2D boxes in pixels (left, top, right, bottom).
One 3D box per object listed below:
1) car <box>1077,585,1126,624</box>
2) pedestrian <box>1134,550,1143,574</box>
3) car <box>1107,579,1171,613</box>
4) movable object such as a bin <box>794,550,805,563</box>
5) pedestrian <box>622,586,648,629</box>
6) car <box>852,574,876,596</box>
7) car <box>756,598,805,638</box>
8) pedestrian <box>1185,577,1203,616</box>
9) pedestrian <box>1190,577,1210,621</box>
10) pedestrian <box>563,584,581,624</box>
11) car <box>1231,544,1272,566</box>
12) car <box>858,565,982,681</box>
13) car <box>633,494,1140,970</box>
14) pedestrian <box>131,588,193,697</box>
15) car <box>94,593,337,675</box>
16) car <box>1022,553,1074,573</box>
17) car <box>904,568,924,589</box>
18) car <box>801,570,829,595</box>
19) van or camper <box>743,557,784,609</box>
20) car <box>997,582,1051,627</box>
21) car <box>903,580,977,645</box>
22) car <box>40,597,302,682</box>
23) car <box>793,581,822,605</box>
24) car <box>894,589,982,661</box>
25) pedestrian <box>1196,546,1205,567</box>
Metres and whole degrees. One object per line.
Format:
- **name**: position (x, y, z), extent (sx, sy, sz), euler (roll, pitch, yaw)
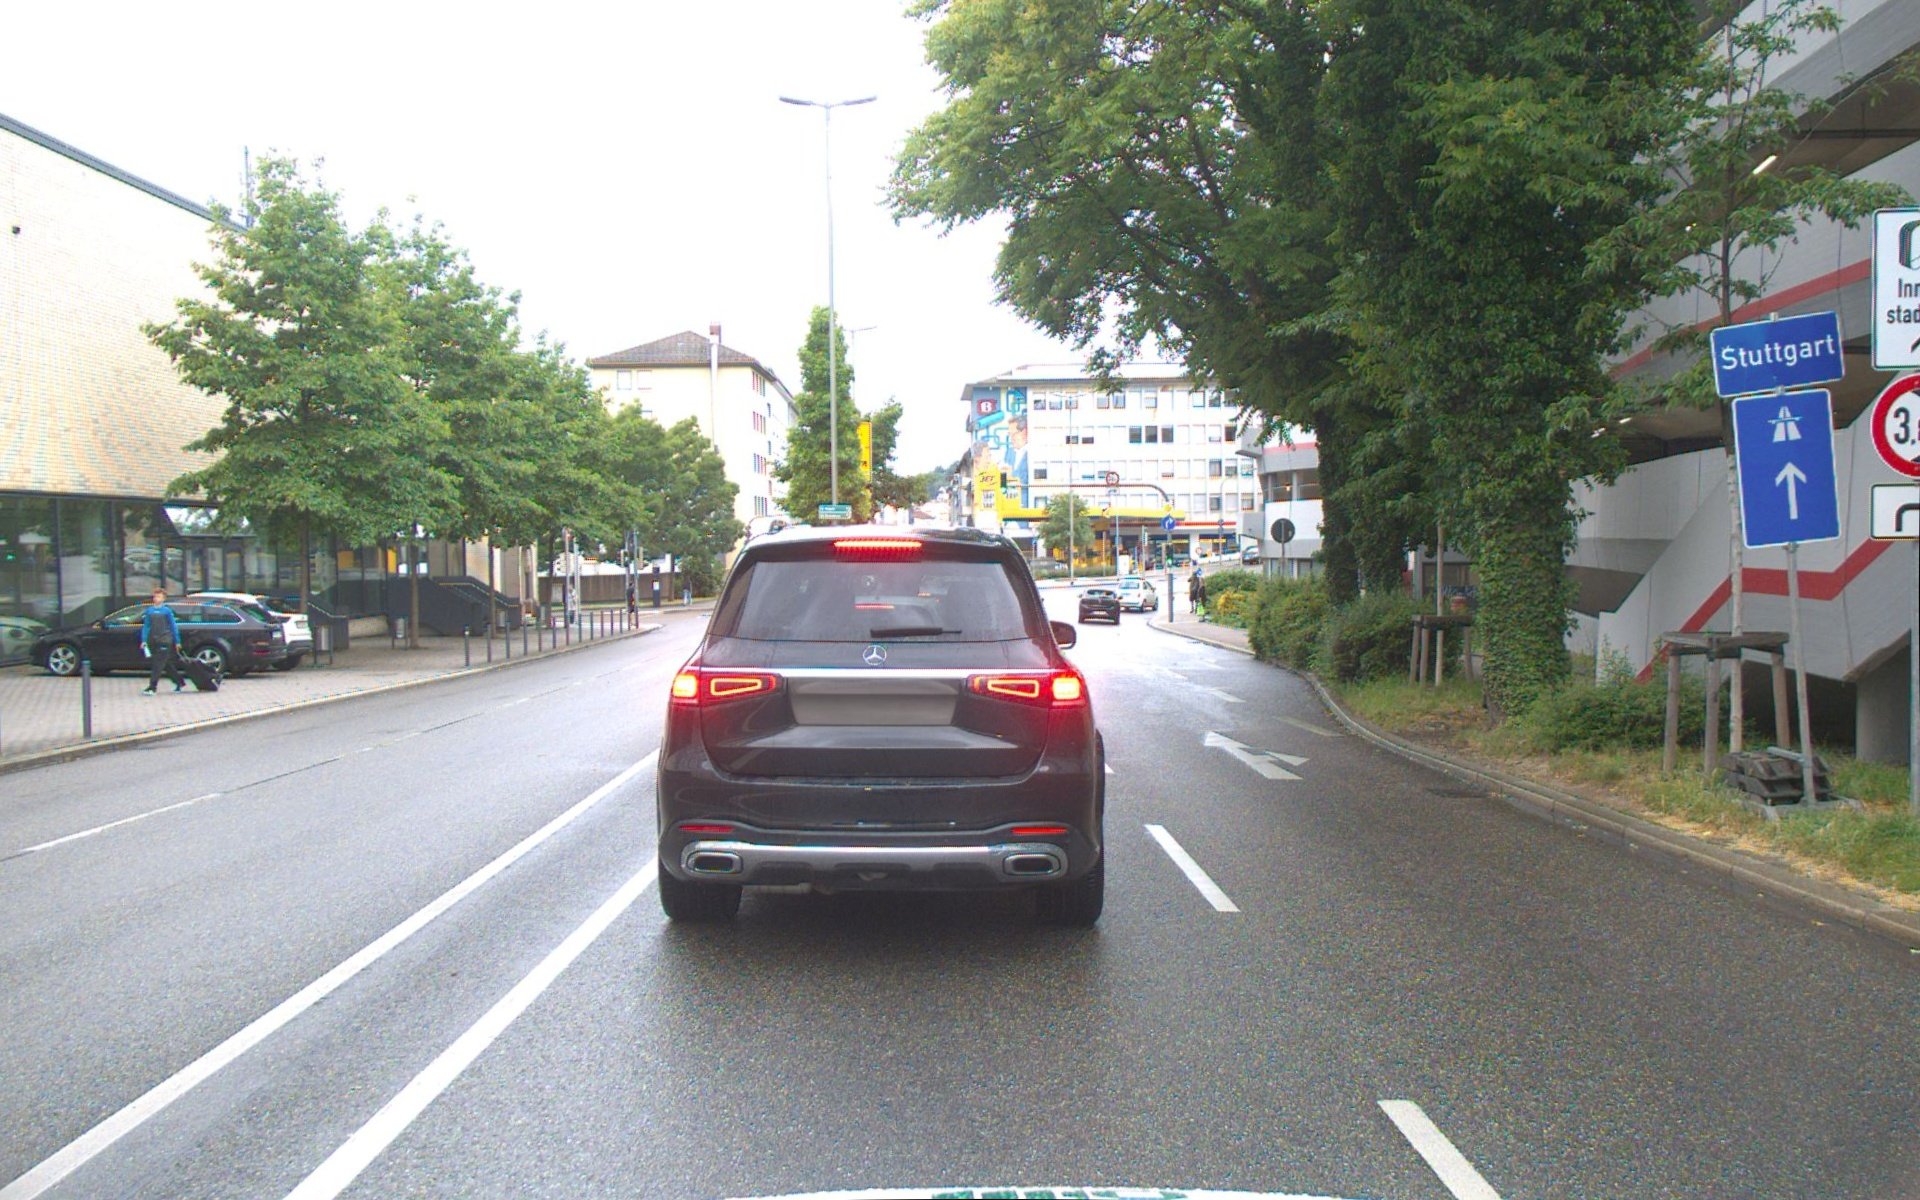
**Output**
- **car**: position (5.823, 0.197, 67.740), extent (1.904, 1.512, 4.003), euler (1, 0, 6)
- **pedestrian**: position (12.989, -2.736, 120.452), extent (0.560, 1.727, 0.631), euler (1, -1, 0)
- **car**: position (8.620, -0.172, 79.594), extent (1.720, 1.576, 3.994), euler (1, 0, 28)
- **movable object such as a bin**: position (-13.675, -3.718, 140.878), extent (0.891, 1.056, 0.844), euler (1, 0, 0)
- **pedestrian**: position (-13.181, 0.292, 67.048), extent (0.931, 1.734, 0.709), euler (1, -1, -18)
- **car**: position (-7.750, -1.176, 133.152), extent (1.868, 1.733, 3.997), euler (1, 0, -4)
- **car**: position (-7.306, 0.716, 67.543), extent (1.706, 1.496, 3.880), euler (-2, 0, -3)
- **pedestrian**: position (10.475, -0.148, 73.984), extent (0.703, 1.720, 0.455), euler (1, -1, -7)
- **pedestrian**: position (9.493, -0.049, 65.515), extent (0.634, 1.740, 0.470), euler (0, -1, 35)
- **pedestrian**: position (-16.700, 0.174, 71.232), extent (0.630, 1.695, 1.017), euler (1, 0, -7)
- **car**: position (24.442, -3.790, 138.731), extent (1.958, 1.735, 3.990), euler (-1, 1, 33)
- **car**: position (-0.663, 0.375, 28.494), extent (1.953, 1.832, 3.999), euler (1, 0, -1)
- **car**: position (-0.313, 0.527, 8.473), extent (1.953, 1.832, 3.999), euler (1, 0, -1)
- **pedestrian**: position (-13.059, 0.688, 27.072), extent (0.621, 1.744, 0.705), euler (1, -1, 2)
- **car**: position (-15.374, 0.689, 34.315), extent (4.090, 1.574, 2.000), euler (1, 0, 0)
- **car**: position (6.837, -2.880, 128.671), extent (1.724, 1.400, 3.935), euler (-3, 1, -44)
- **car**: position (-4.711, -2.194, 169.206), extent (1.953, 2.049, 4.000), euler (1, 0, 0)
- **car**: position (-10.559, -1.276, 120.720), extent (1.868, 1.733, 3.997), euler (1, 0, -4)
- **van or camper**: position (-10.593, -0.880, 88.931), extent (2.062, 2.627, 5.898), euler (-2, 0, -7)
- **car**: position (2.352, 0.156, 61.497), extent (1.759, 1.552, 4.055), euler (1, 1, -1)
- **car**: position (-0.532, 0.331, 44.259), extent (1.869, 1.614, 3.999), euler (1, 0, -1)
- **car**: position (-15.172, 0.751, 32.015), extent (4.097, 1.521, 1.997), euler (1, 0, -8)
- **car**: position (-10.166, -0.442, 110.413), extent (1.761, 1.521, 3.801), euler (1, 0, -3)
- **car**: position (-0.499, 0.541, 37.703), extent (1.869, 1.527, 3.999), euler (1, 0, -1)
- **pedestrian**: position (19.937, -3.603, 137.129), extent (0.515, 1.757, 0.689), euler (0, 1, 26)
